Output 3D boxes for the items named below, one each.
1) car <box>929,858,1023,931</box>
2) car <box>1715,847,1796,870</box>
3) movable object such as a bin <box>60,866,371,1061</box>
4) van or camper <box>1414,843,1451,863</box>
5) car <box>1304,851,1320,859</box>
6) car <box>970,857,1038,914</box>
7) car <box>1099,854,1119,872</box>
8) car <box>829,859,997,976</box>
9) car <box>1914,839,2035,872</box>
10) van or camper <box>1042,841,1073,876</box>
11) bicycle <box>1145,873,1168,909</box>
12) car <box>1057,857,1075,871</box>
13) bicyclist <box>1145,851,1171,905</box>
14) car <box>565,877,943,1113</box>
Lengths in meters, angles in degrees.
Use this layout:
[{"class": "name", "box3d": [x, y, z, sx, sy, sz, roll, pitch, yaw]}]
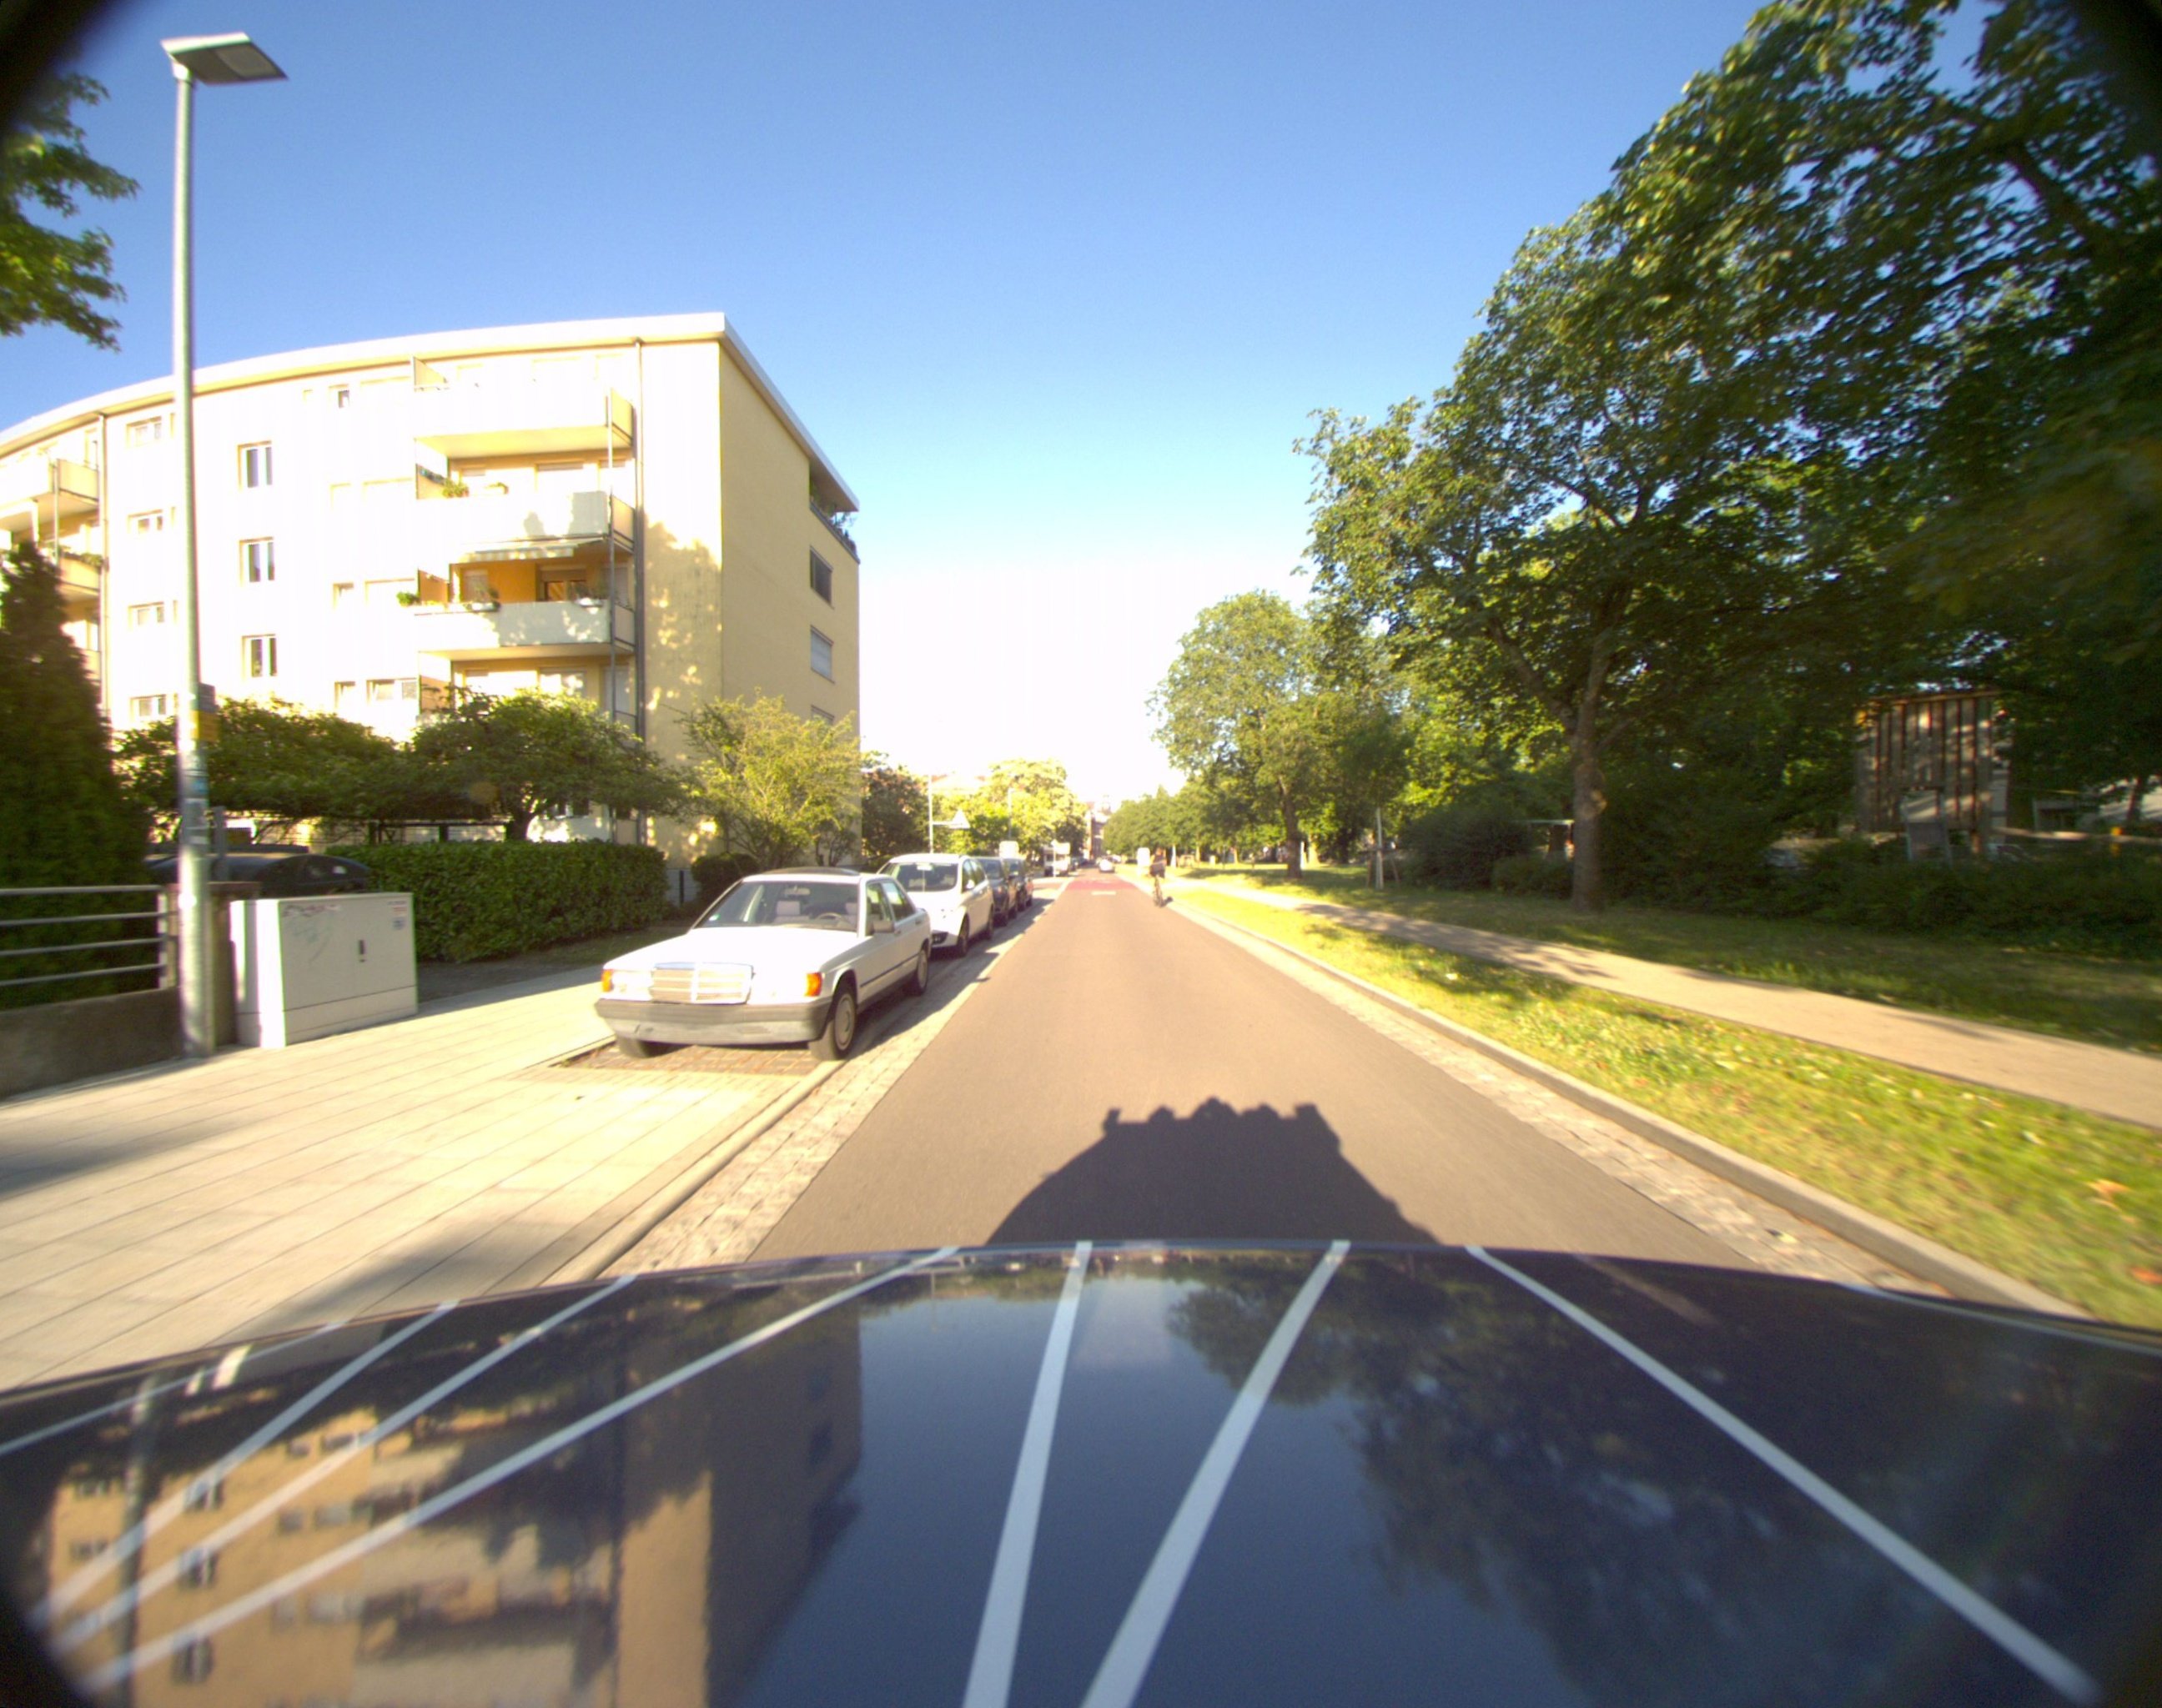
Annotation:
[{"class": "car", "box3d": [-2.427, 0.887, 18.528, 1.683, 1.546, 4.144, 1, 0, 0]}, {"class": "car", "box3d": [43.028, 0.268, 48.577, 1.526, 1.359, 4.108, -1, 0, 1]}, {"class": "movable object such as a bin", "box3d": [-7.023, 0.833, 6.262, 1.240, 1.424, 1.123, -1, 0, 3]}, {"class": "van or camper", "box3d": [44.042, -0.100, 95.375, 1.999, 2.425, 5.466, 1, 0, -1]}, {"class": "car", "box3d": [45.056, 0.153, 148.304, 1.796, 1.455, 4.000, -1, 0, 0]}, {"class": "car", "box3d": [-2.337, 0.911, 23.942, 1.714, 1.601, 4.168, 1, 0, 0]}, {"class": "car", "box3d": [3.014, 0.931, 83.256, 1.849, 1.837, 4.572, 1, 1, -1]}, {"class": "car", "box3d": [-2.529, 0.876, 12.437, 1.682, 1.546, 4.130, 1, 0, 2]}, {"class": "car", "box3d": [42.759, 0.083, 36.484, 1.604, 1.455, 3.664, -2, 0, 3]}, {"class": "van or camper", "box3d": [-1.949, 0.351, 65.197, 2.427, 2.766, 5.952, 1, 0, 0]}, {"class": "bicycle", "box3d": [2.363, 1.136, 23.989, 0.558, 1.026, 1.914, 0, 1, 0]}, {"class": "car", "box3d": [-1.703, 1.132, 89.019, 1.998, 1.501, 4.000, -1, 0, 0]}, {"class": "bicyclist", "box3d": [2.410, 0.732, 23.930, 0.683, 1.663, 1.172, 0, 1, 0]}, {"class": "car", "box3d": [-2.530, 0.982, 7.130, 1.567, 1.382, 4.374, 1, 0, 1]}]
